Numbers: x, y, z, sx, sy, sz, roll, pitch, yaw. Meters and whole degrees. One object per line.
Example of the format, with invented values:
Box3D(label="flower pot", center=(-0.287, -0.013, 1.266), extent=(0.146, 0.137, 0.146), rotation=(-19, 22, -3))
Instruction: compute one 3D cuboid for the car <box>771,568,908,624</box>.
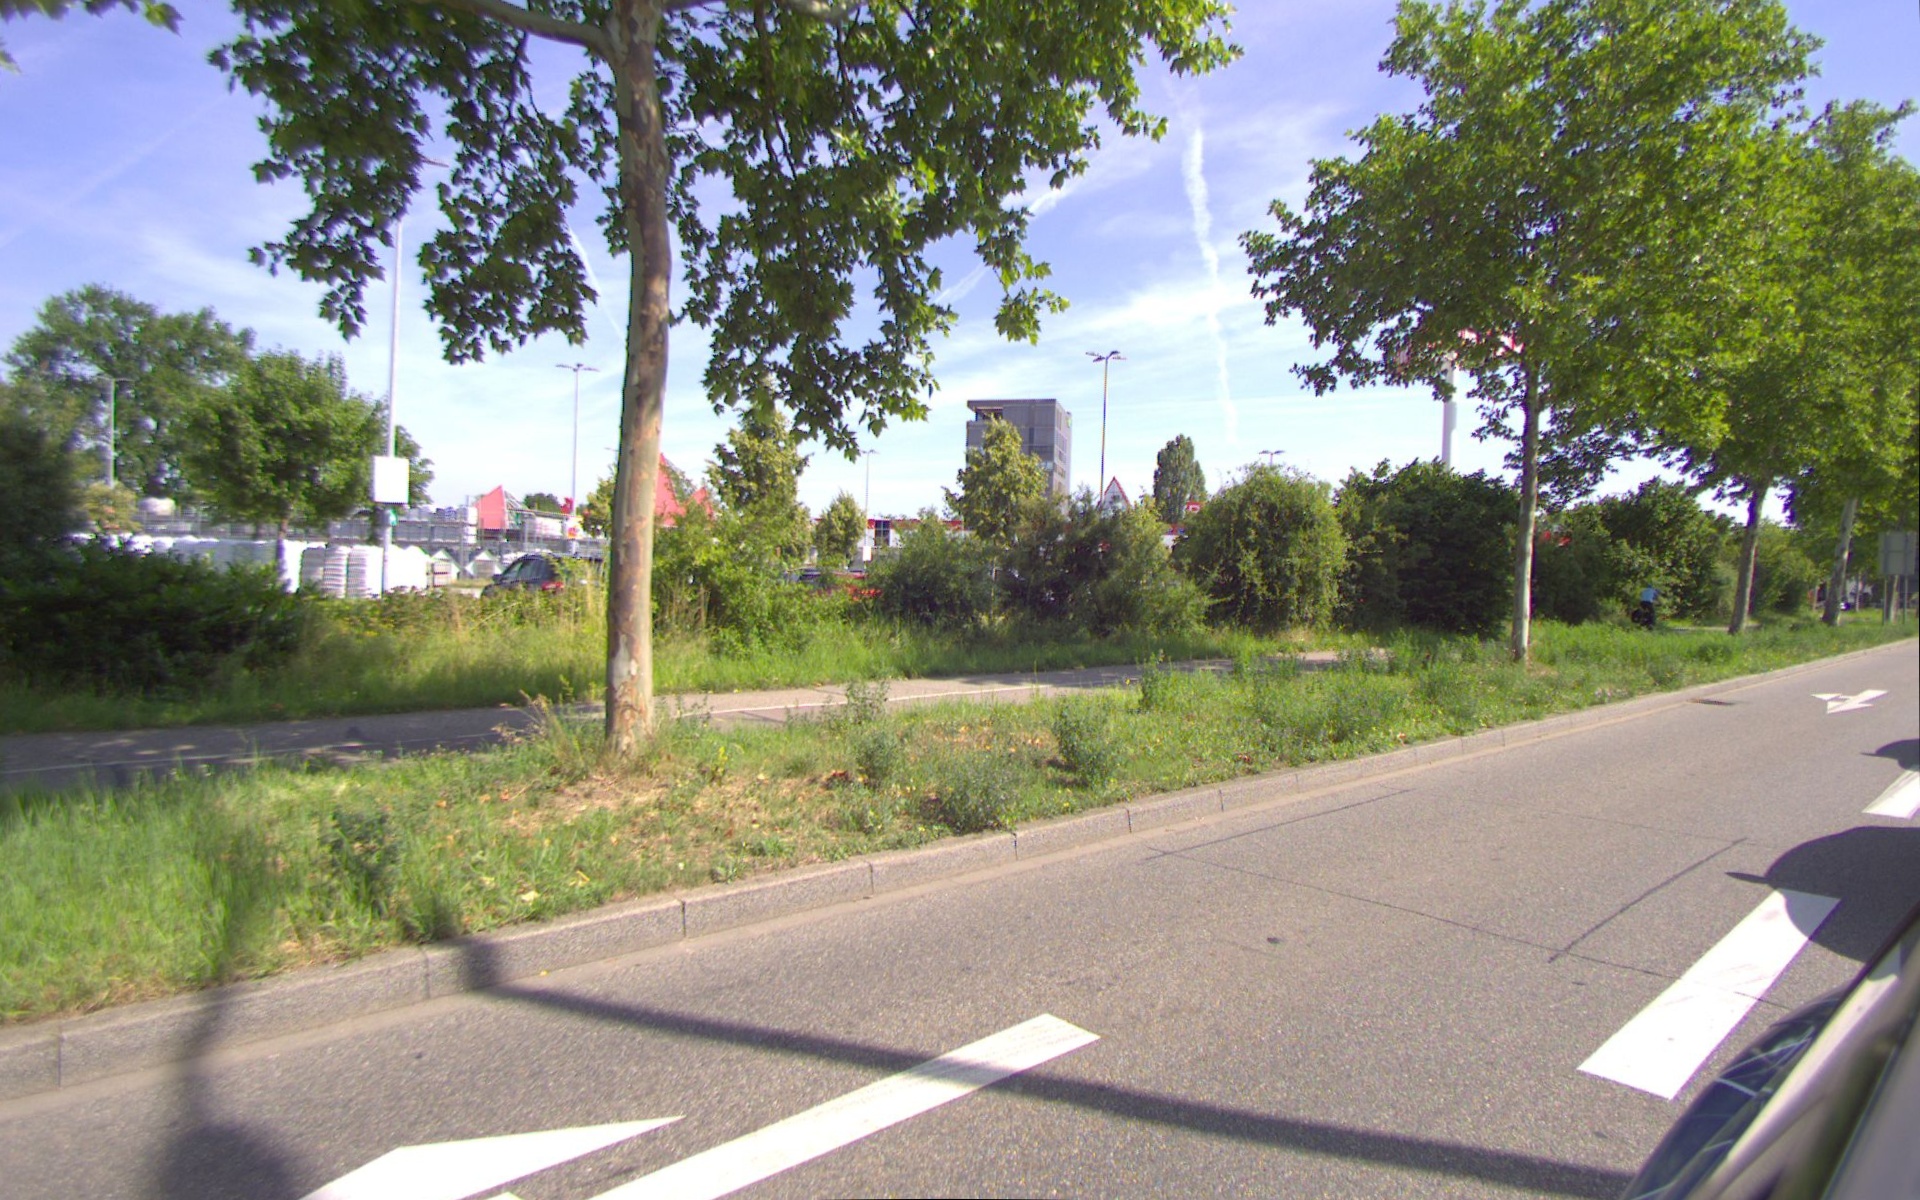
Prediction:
Box3D(label="car", center=(-3.229, -0.145, 26.818), extent=(3.553, 1.316, 1.740), rotation=(3, 2, 43))

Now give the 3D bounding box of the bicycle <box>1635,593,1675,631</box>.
Box3D(label="bicycle", center=(24.337, 0.400, 35.420), extent=(1.900, 1.252, 0.686), rotation=(0, 2, -41))

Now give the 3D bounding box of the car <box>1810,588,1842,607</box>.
Box3D(label="car", center=(118.937, -0.383, 139.094), extent=(2.047, 2.439, 5.947), rotation=(2, 2, 28))

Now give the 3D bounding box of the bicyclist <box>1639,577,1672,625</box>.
Box3D(label="bicyclist", center=(24.358, 0.032, 35.423), extent=(0.984, 1.651, 0.686), rotation=(0, 2, -41))

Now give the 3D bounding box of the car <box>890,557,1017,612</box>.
Box3D(label="car", center=(-0.188, -0.525, 32.589), extent=(3.801, 1.604, 1.844), rotation=(2, 2, 11))

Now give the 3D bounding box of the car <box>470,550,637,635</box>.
Box3D(label="car", center=(-8.635, -0.212, 21.355), extent=(3.850, 1.604, 1.821), rotation=(3, 2, 43))
